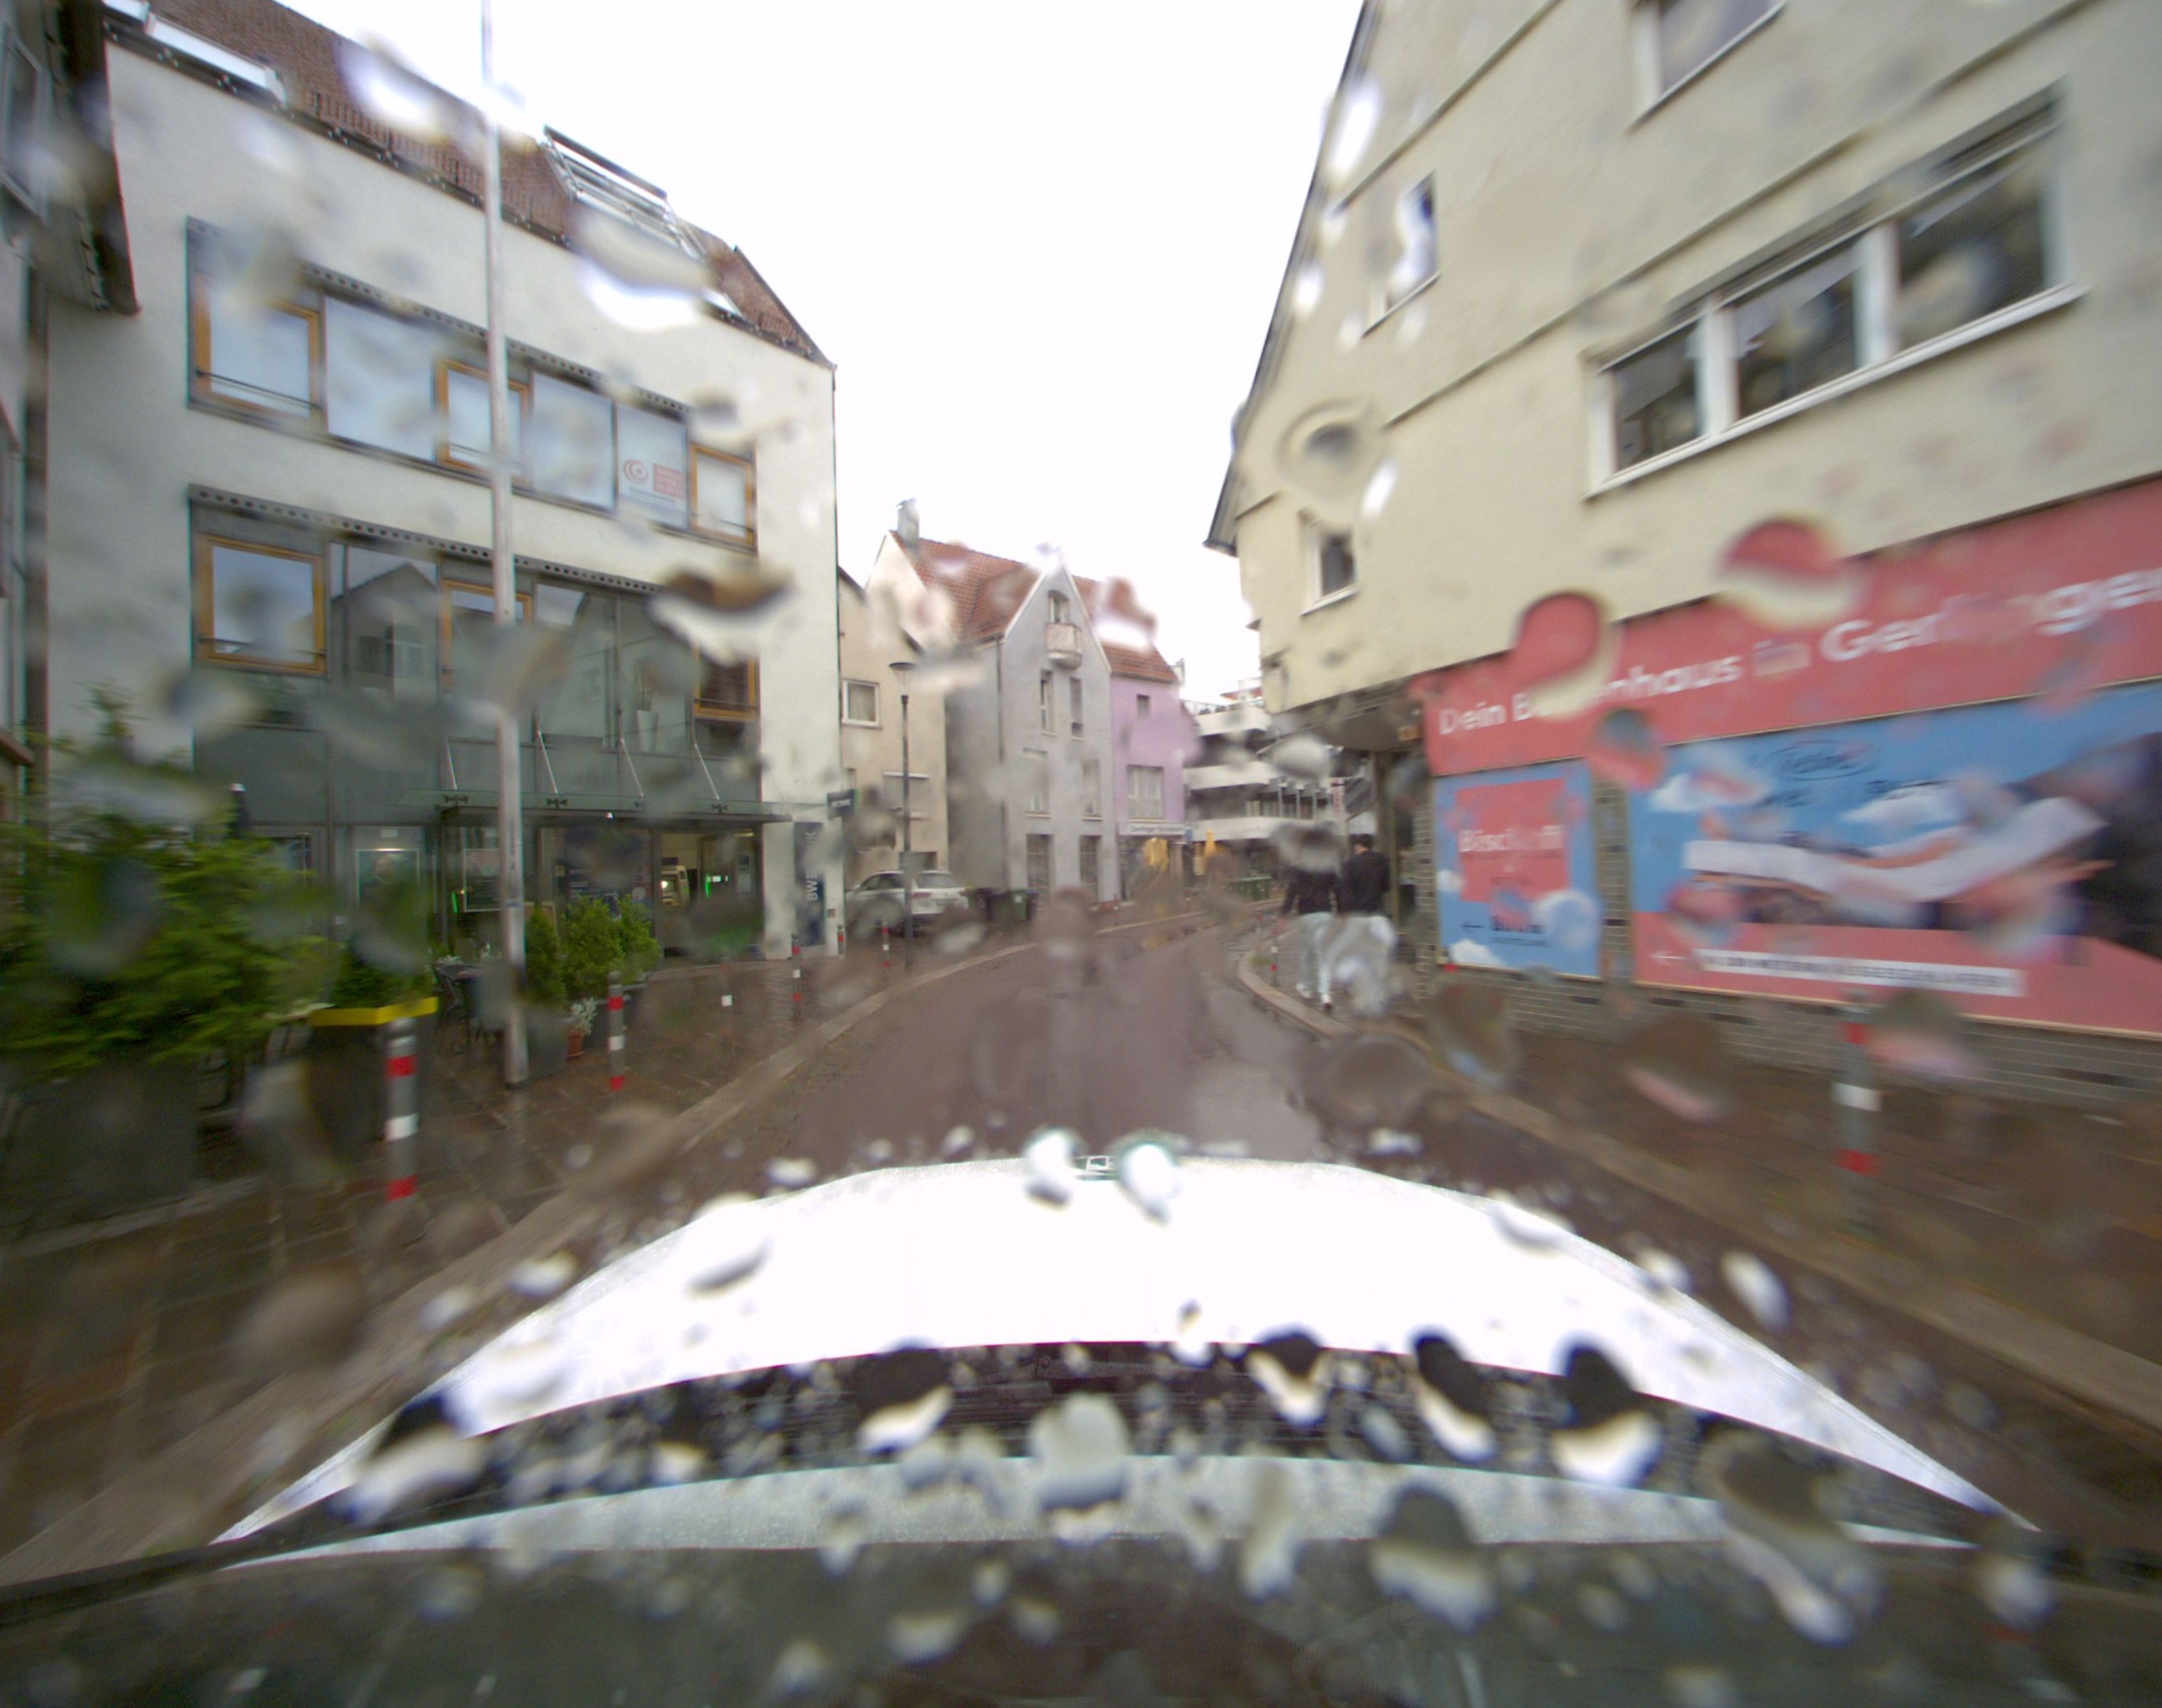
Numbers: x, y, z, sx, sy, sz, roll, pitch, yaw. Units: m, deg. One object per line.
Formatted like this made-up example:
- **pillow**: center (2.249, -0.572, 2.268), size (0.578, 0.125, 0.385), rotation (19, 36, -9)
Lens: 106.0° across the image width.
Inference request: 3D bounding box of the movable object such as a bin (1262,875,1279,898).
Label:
- **movable object such as a bin**: center (9.460, 1.629, 40.700), size (0.626, 1.128, 0.580), rotation (-3, -3, 33)

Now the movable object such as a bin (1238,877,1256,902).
- **movable object such as a bin**: center (7.690, 1.632, 37.731), size (0.626, 1.128, 0.580), rotation (-3, -3, 33)

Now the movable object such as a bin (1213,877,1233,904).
- **movable object such as a bin**: center (6.047, 1.548, 34.767), size (0.626, 1.128, 0.580), rotation (-3, -3, 33)

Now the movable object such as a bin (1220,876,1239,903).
- **movable object such as a bin**: center (6.455, 1.546, 35.388), size (0.626, 1.128, 0.580), rotation (-3, -3, 33)

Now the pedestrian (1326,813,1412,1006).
- **pedestrian**: center (3.138, 0.594, 8.935), size (0.647, 2.014, 0.762), rotation (-2, -2, 5)

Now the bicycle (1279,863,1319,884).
- **bicycle**: center (14.590, 1.320, 54.530), size (2.279, 1.314, 1.016), rotation (-4, -3, 38)

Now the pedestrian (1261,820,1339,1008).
- **pedestrian**: center (2.439, 0.657, 9.162), size (0.647, 2.014, 0.762), rotation (-2, -2, 5)

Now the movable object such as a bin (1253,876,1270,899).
- **movable object such as a bin**: center (8.770, 1.623, 39.607), size (0.626, 1.128, 0.580), rotation (-3, -3, 33)

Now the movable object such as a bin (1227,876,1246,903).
- **movable object such as a bin**: center (6.873, 1.568, 36.040), size (0.626, 1.128, 0.580), rotation (-3, -3, 33)

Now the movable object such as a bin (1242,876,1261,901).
- **movable object such as a bin**: center (8.052, 1.618, 38.465), size (0.626, 1.128, 0.580), rotation (-3, -3, 33)

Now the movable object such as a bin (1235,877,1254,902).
- **movable object such as a bin**: center (7.438, 1.624, 37.023), size (0.626, 1.128, 0.580), rotation (-3, -3, 33)

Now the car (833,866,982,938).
- **car**: center (-4.620, 1.197, 21.399), size (2.011, 1.676, 3.950), rotation (0, -2, -45)

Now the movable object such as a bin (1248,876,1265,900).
- **movable object such as a bin**: center (8.418, 1.629, 39.071), size (0.626, 1.128, 0.580), rotation (-3, -3, 33)

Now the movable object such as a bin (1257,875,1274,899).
- **movable object such as a bin**: center (9.106, 1.619, 40.166), size (0.626, 1.128, 0.580), rotation (-3, -3, 33)
